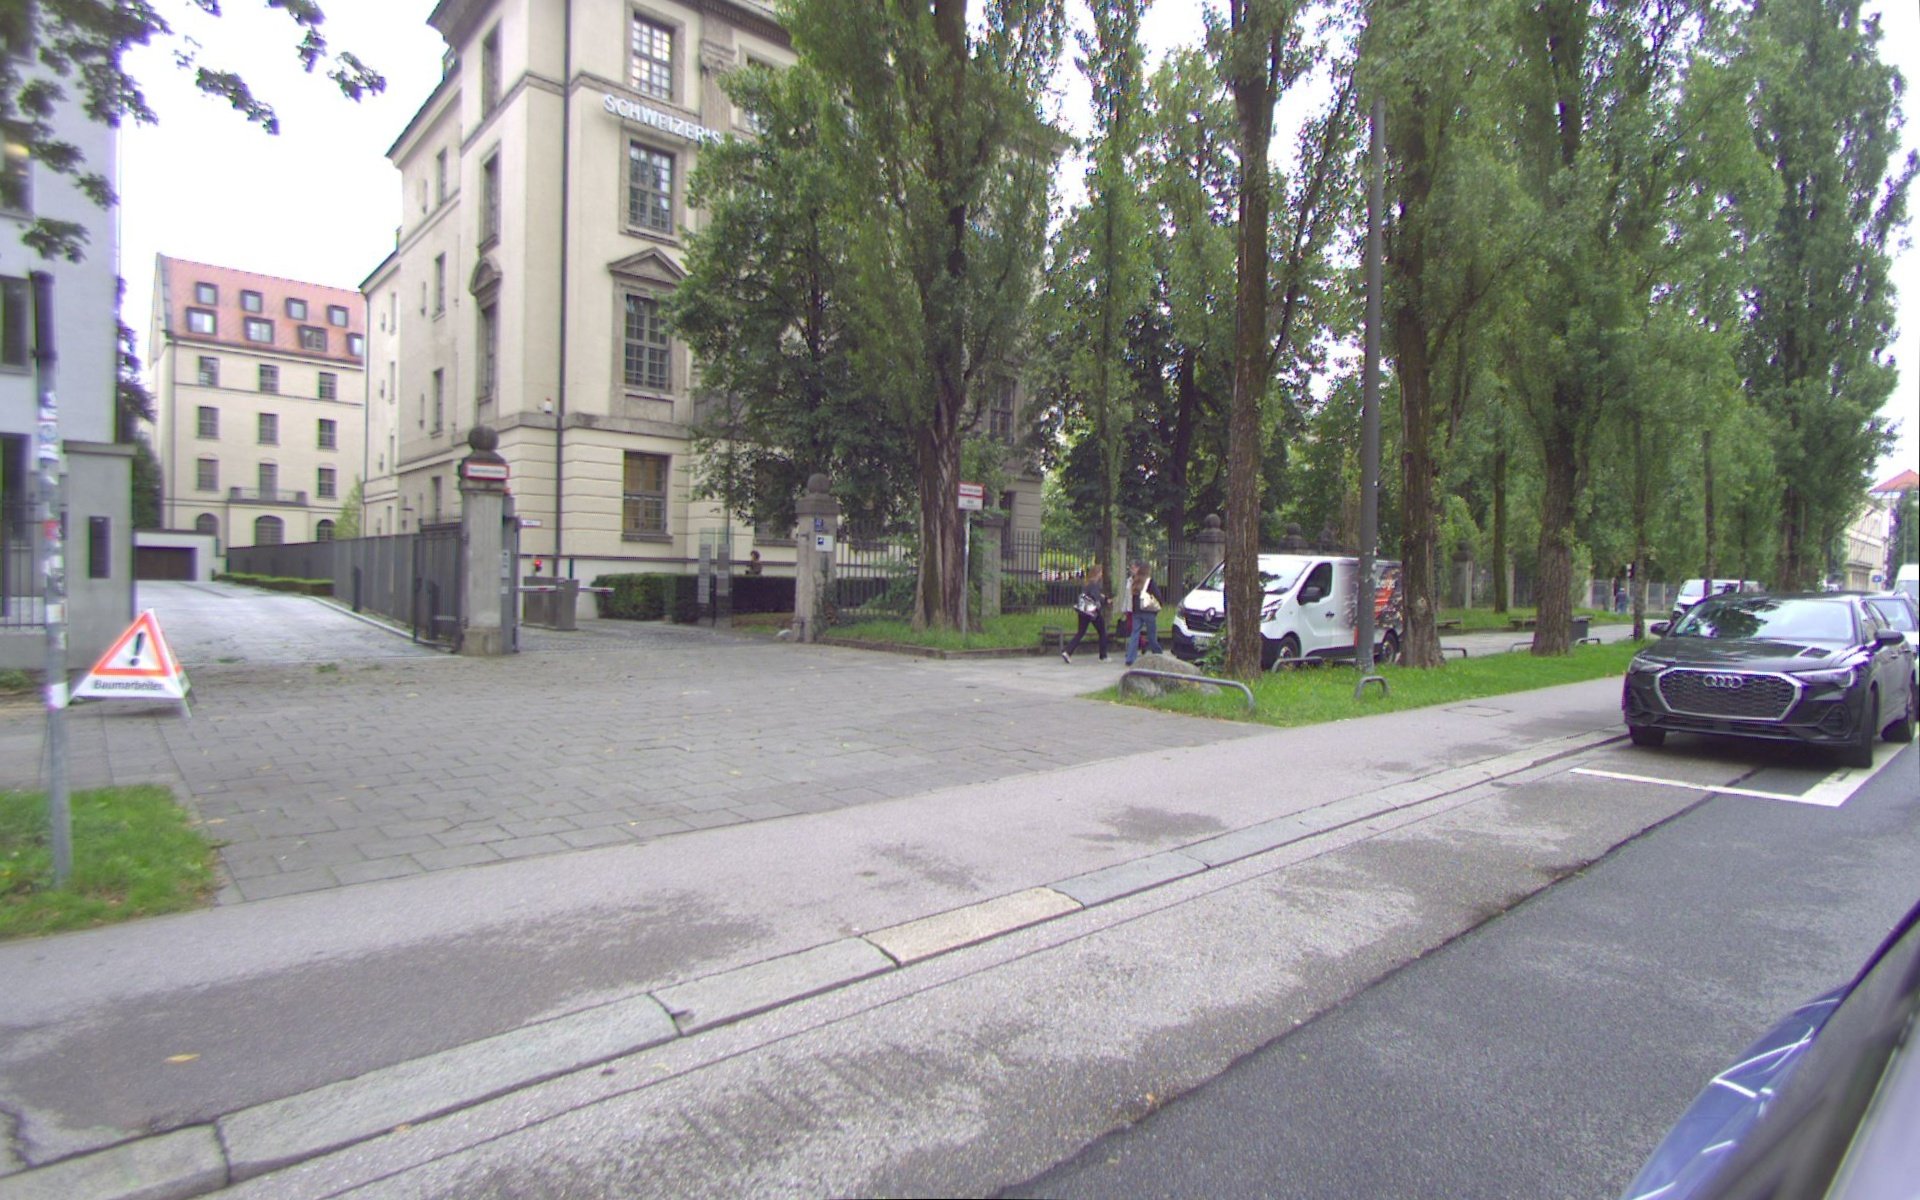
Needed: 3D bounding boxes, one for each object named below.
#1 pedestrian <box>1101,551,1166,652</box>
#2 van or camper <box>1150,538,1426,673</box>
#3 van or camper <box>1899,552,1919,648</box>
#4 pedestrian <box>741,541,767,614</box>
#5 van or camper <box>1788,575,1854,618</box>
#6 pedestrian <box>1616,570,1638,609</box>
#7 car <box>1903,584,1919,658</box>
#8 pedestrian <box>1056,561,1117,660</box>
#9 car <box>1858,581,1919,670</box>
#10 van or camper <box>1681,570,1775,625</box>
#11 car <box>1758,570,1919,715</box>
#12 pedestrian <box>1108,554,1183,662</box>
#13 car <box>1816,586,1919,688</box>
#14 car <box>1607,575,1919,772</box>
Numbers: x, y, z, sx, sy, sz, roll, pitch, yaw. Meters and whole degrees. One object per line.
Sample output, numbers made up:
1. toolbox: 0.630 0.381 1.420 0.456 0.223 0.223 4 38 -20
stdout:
1. pedestrian: 3.192 0.013 18.632 0.852 1.791 0.723 0 4 -41
2. van or camper: 5.717 0.073 17.234 5.275 1.958 2.080 0 0 -41
3. van or camper: 28.485 0.007 28.672 6.306 2.572 2.142 0 1 -42
4. pedestrian: -5.814 -0.640 28.512 0.536 2.038 0.456 0 1 -41
5. van or camper: 43.338 -0.191 50.915 4.902 2.039 2.005 0 0 -43
6. pedestrian: 36.347 -0.581 55.145 0.898 2.038 0.946 2 1 33
7. car: 23.580 0.494 23.804 4.344 1.669 1.786 0 1 -44
8. pedestrian: 2.113 0.158 16.870 0.852 1.598 0.568 0 2 -42
9. car: 19.684 0.492 20.432 4.558 1.638 1.787 0 1 -42
10. van or camper: 29.030 -0.102 38.187 4.952 1.958 1.978 0 0 -42
11. car: 12.563 0.497 13.902 4.501 1.696 1.746 0 1 -42
12. pedestrian: 3.127 0.115 17.043 0.852 1.738 0.855 0 2 -42
13. car: 16.081 0.576 17.242 4.221 1.539 1.705 0 1 -42
14. car: 8.362 0.576 10.250 4.386 1.560 1.884 0 1 -41
